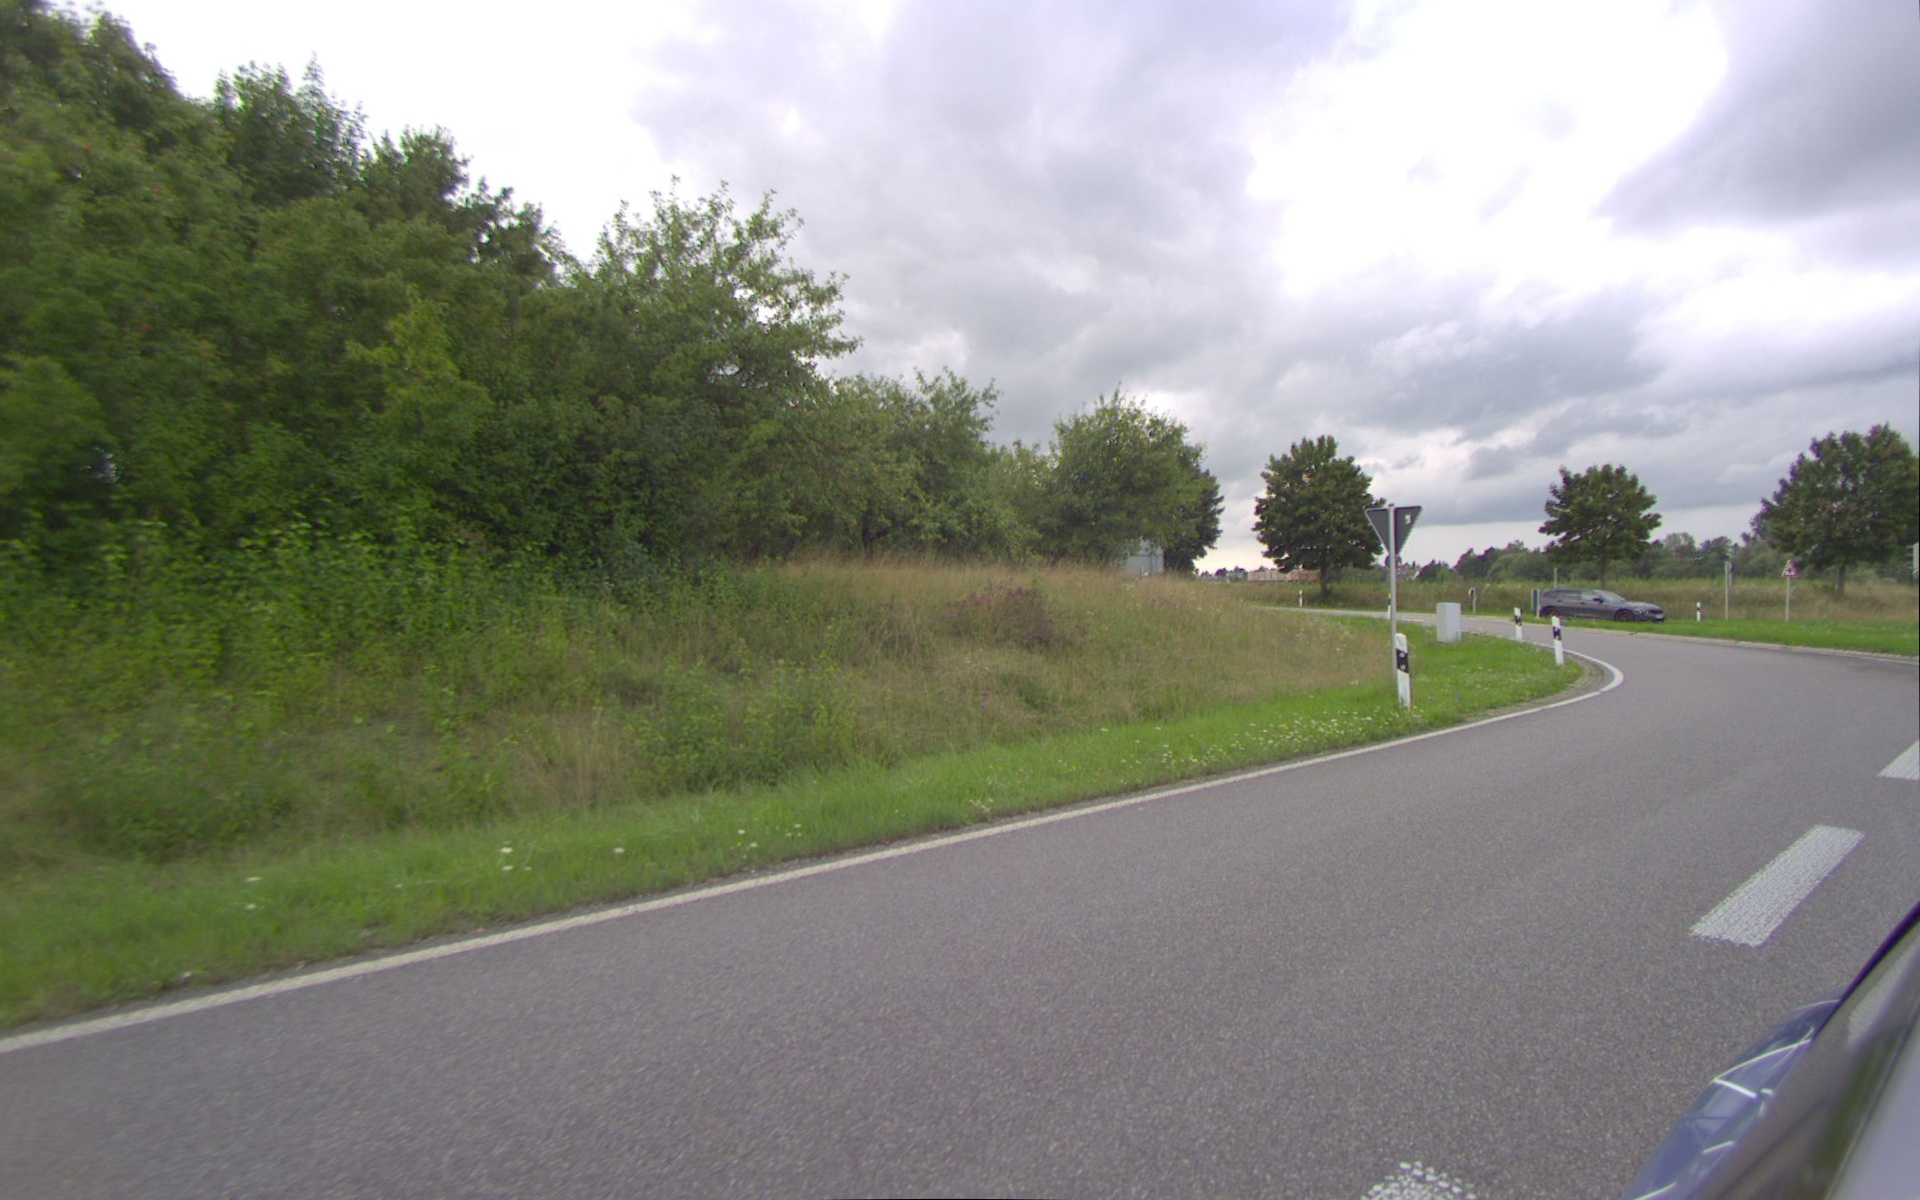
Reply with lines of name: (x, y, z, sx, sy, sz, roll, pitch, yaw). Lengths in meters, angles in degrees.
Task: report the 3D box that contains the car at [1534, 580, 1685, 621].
car: (25.750, -0.020, 40.308, 1.961, 1.522, 4.671, 0, 1, -31)
